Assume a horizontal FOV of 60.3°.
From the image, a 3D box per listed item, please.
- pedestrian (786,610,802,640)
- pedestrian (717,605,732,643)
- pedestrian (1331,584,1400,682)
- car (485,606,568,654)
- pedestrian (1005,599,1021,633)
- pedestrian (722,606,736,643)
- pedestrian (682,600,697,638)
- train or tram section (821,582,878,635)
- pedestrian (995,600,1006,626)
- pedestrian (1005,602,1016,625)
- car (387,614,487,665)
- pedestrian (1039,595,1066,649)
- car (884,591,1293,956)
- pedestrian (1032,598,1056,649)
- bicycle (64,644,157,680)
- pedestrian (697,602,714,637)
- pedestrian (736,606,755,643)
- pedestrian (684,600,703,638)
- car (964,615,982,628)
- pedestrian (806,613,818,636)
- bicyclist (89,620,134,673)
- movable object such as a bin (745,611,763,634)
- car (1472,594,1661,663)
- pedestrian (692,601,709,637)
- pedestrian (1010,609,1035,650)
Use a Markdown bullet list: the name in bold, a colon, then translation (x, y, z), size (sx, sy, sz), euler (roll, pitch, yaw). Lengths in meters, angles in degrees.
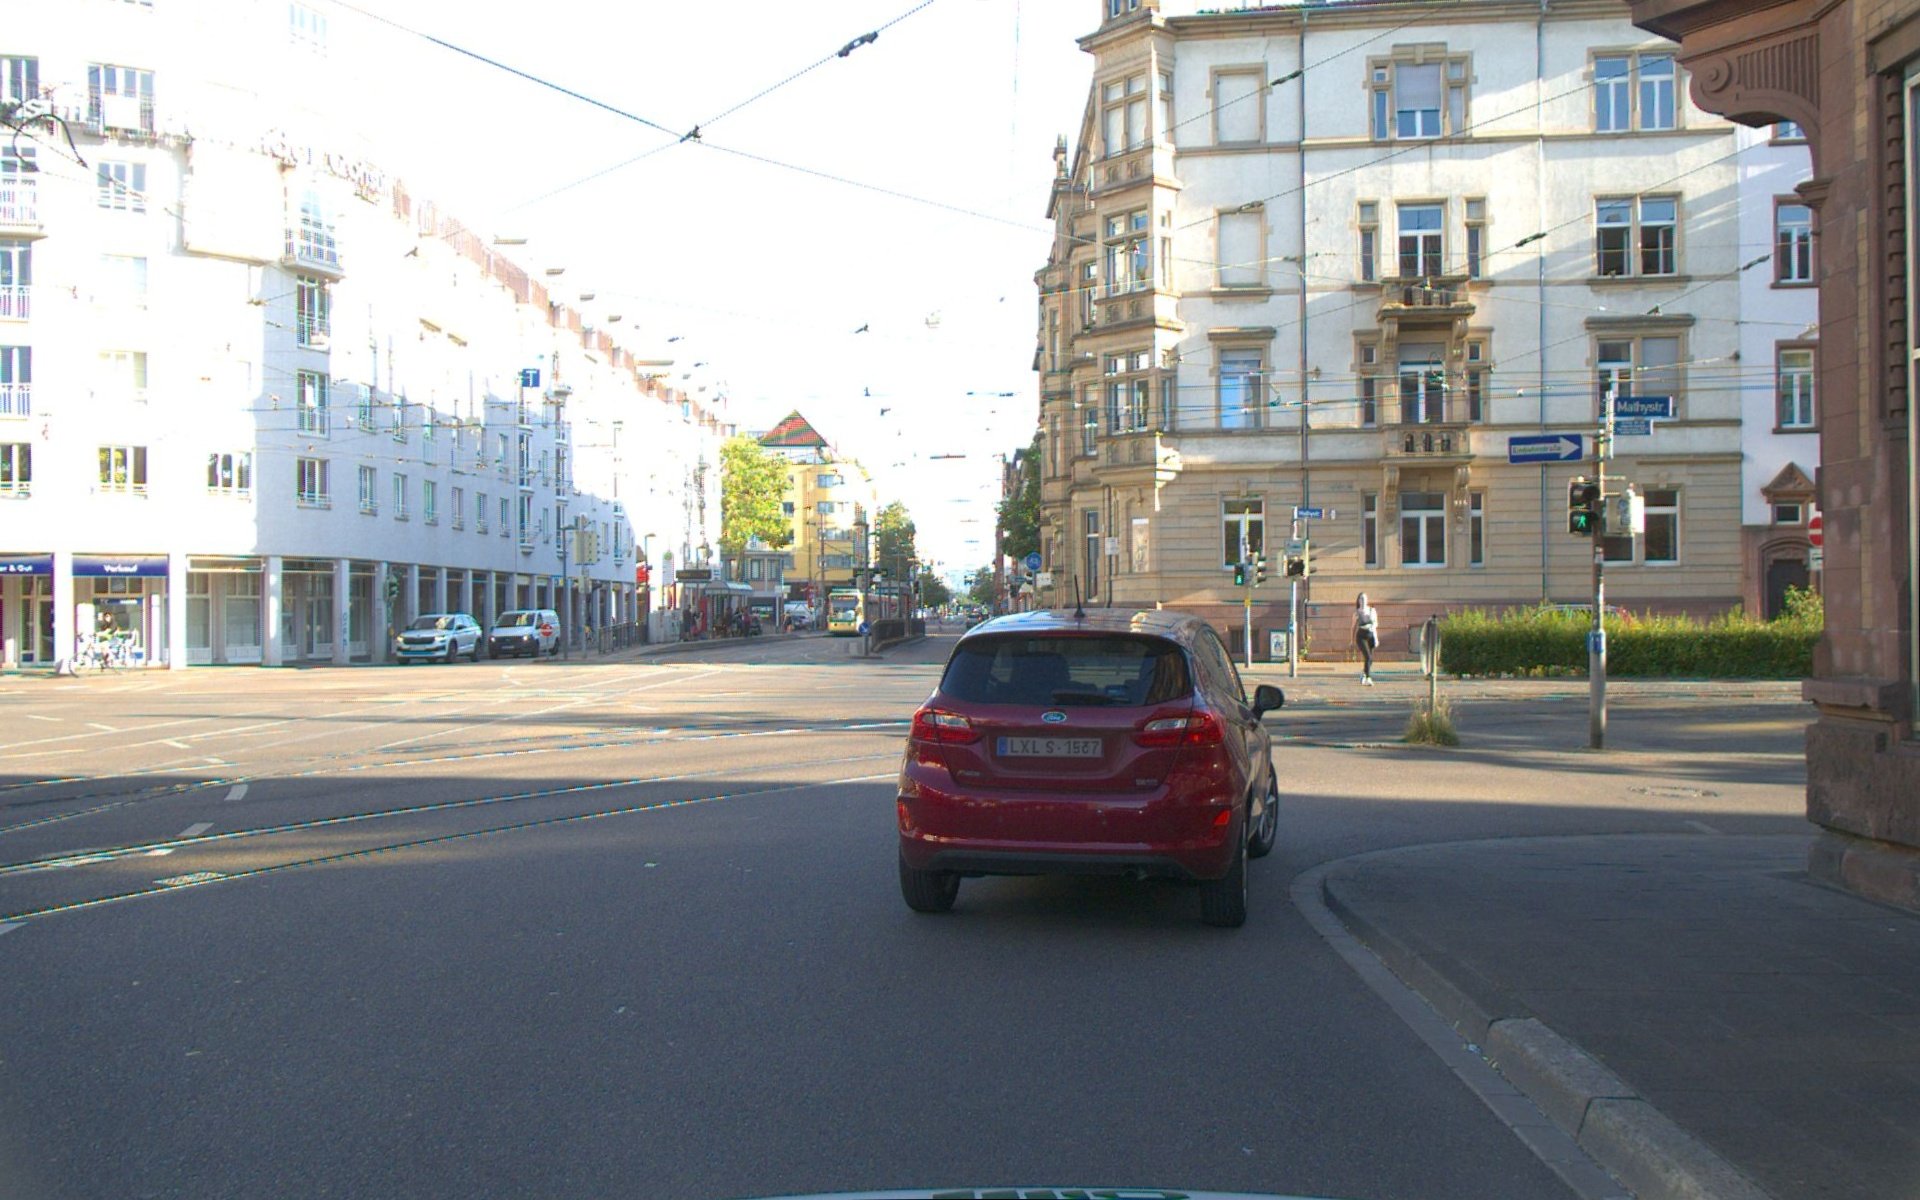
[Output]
- **pedestrian**: translation (-10.921, 1.636, 108.746), size (0.864, 1.938, 0.931), euler (0, -1, -15)
- **pedestrian**: translation (-12.280, 1.254, 86.162), size (0.681, 1.938, 0.672), euler (0, -1, -2)
- **pedestrian**: translation (7.780, 0.627, 31.802), size (1.002, 1.838, 1.082), euler (-1, 0, -3)
- **car**: translation (-17.699, 1.209, 67.792), size (1.953, 1.870, 5.346), euler (-1, 0, 0)
- **pedestrian**: translation (2.711, 0.819, 85.000), size (0.747, 1.674, 0.832), euler (-2, 0, 0)
- **pedestrian**: translation (-12.113, 1.266, 86.720), size (0.681, 1.938, 0.672), euler (0, -1, -2)
- **pedestrian**: translation (-12.433, 0.870, 76.020), size (0.586, 1.721, 0.613), euler (0, -1, 1)
- **train or tram section**: translation (-7.890, 0.683, 119.836), size (2.826, 3.551, 14.168), euler (-2, -1, 1)
- **pedestrian**: translation (2.921, 0.943, 119.131), size (0.699, 1.805, 0.773), euler (-3, 0, -3)
- **pedestrian**: translation (3.646, 0.955, 119.166), size (0.699, 1.630, 0.773), euler (-3, 0, -3)
- **car**: translation (-17.817, 1.309, 56.534), size (1.953, 1.648, 4.510), euler (-1, 0, 0)
- **pedestrian**: translation (3.073, 0.726, 55.125), size (0.778, 1.751, 0.719), euler (-2, -2, -1)
- **car**: translation (0.891, 0.757, 8.986), size (1.656, 1.522, 3.583), euler (1, 0, 13)
- **pedestrian**: translation (3.165, 0.876, 62.286), size (0.784, 1.856, 0.797), euler (-2, 0, 0)
- **bicycle**: translation (-24.321, 1.752, 47.388), size (0.827, 0.943, 2.254), euler (-1, 0, 38)
- **pedestrian**: translation (-12.646, 0.964, 82.214), size (0.686, 1.721, 0.667), euler (0, -1, -23)
- **pedestrian**: translation (-11.432, 1.304, 88.285), size (0.913, 1.938, 0.880), euler (0, -1, -2)
- **pedestrian**: translation (-12.583, 0.901, 78.163), size (0.752, 1.763, 0.517), euler (-1, -1, 42)
- **car**: translation (1.470, 2.371, 184.725), size (1.952, 1.475, 4.000), euler (0, 0, 0)
- **pedestrian**: translation (-12.393, 2.078, 138.632), size (0.864, 1.938, 0.931), euler (0, -1, -15)
- **bicyclist**: translation (-24.314, 1.316, 47.405), size (0.827, 1.493, 0.892), euler (-1, -1, 39)
- **movable object such as a bin**: translation (-11.758, 1.309, 94.501), size (0.918, 1.309, 0.934), euler (0, -1, -2)
- **car**: translation (15.288, 0.725, 41.905), size (4.167, 1.661, 1.946), euler (-1, -1, 9)
- **pedestrian**: translation (-12.621, 0.937, 80.507), size (0.686, 1.721, 0.667), euler (0, -1, -23)
- **pedestrian**: translation (2.073, 0.983, 54.902), size (0.778, 1.355, 0.719), euler (-2, -2, 0)
